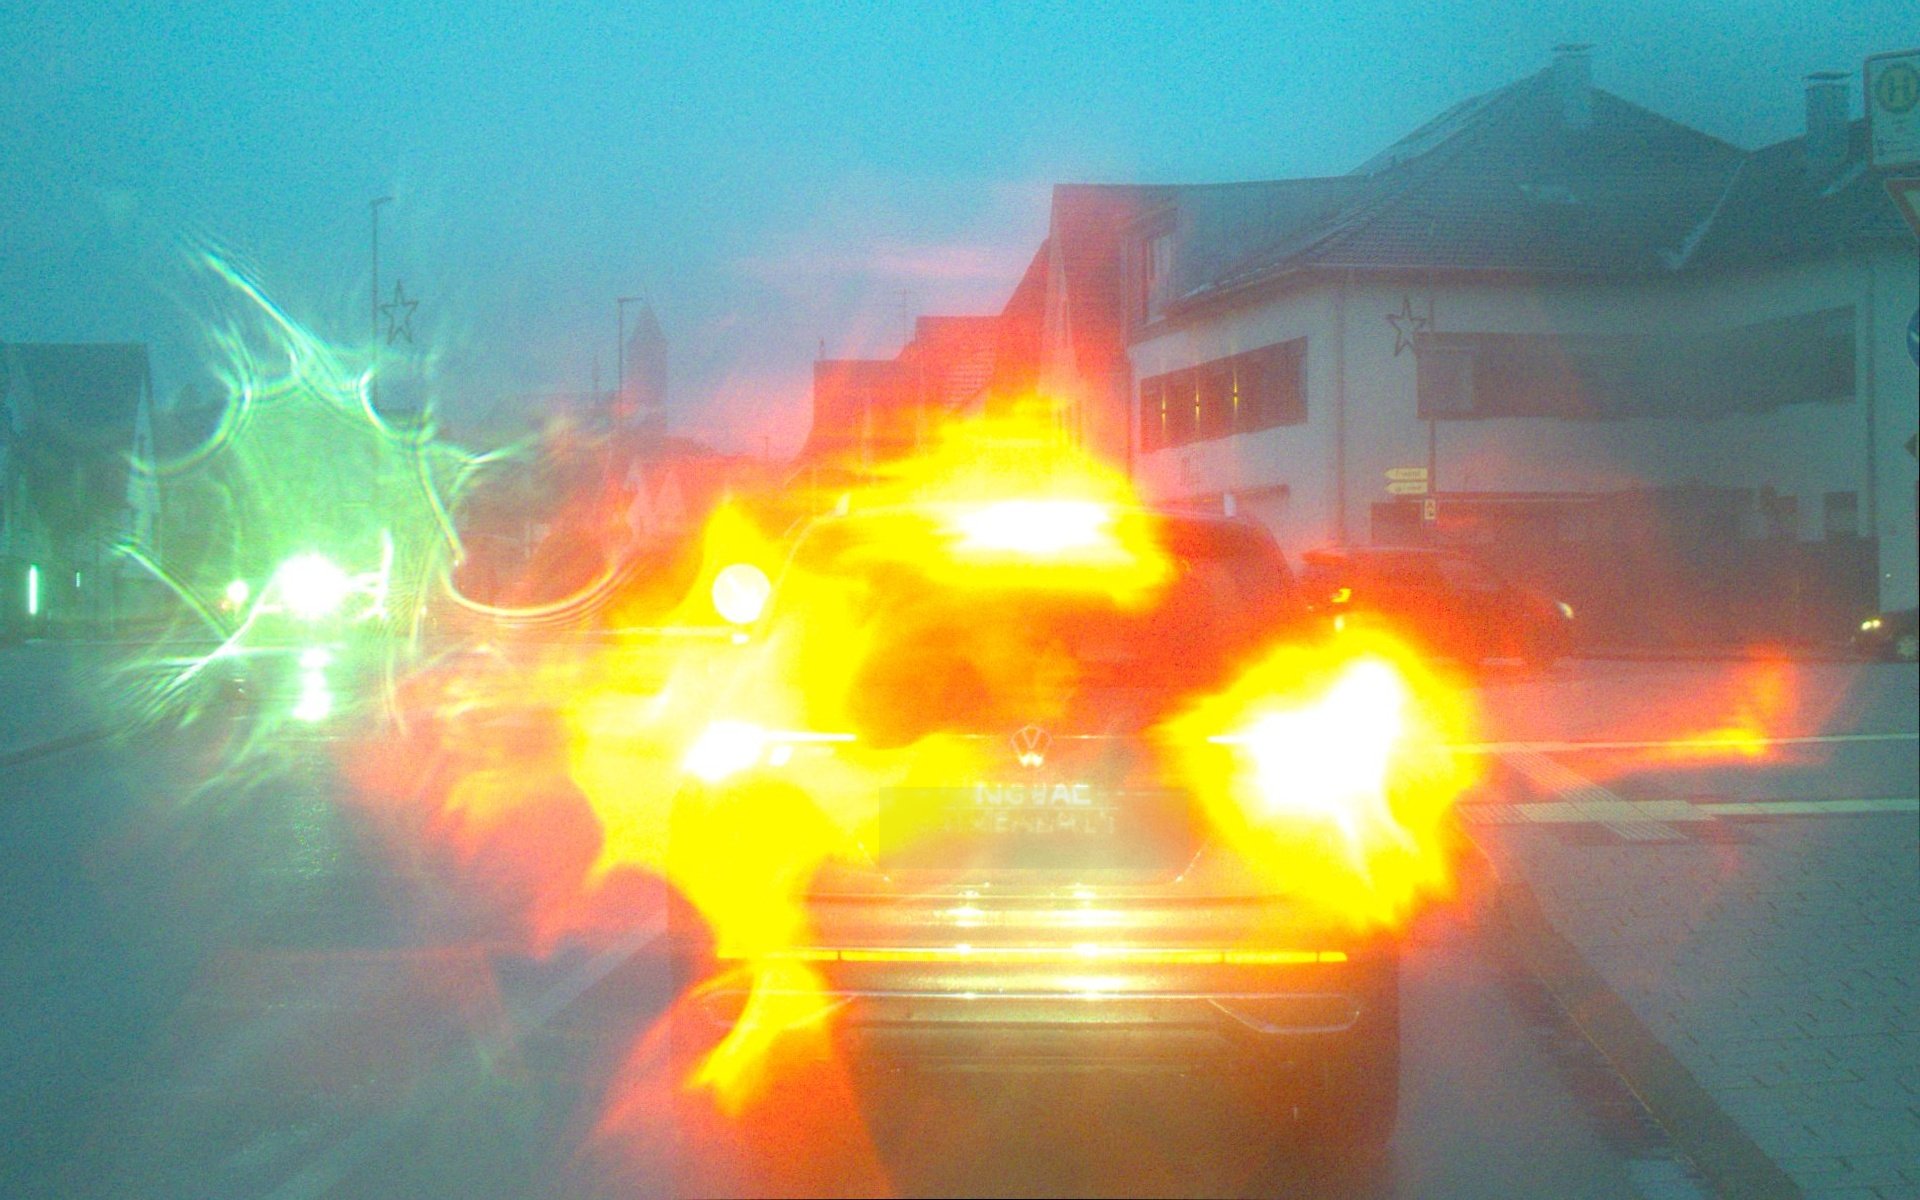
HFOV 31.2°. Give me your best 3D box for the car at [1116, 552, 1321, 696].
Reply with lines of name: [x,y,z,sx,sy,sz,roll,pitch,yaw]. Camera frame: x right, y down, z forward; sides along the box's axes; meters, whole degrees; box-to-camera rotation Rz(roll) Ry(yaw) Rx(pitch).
car: [2.756,0.211,35.920,1.994,1.387,3.999,0,1,6]

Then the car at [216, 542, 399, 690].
car: [-10.345,0.241,54.813,1.993,2.196,4.418,2,0,0]

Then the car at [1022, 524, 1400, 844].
car: [1.190,0.350,17.811,1.682,1.448,4.000,1,1,1]

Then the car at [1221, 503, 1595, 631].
car: [5.423,-0.396,41.691,3.986,1.413,2.000,-1,0,-21]

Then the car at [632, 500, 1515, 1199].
car: [0.275,0.545,9.918,1.964,1.589,4.313,1,1,1]
